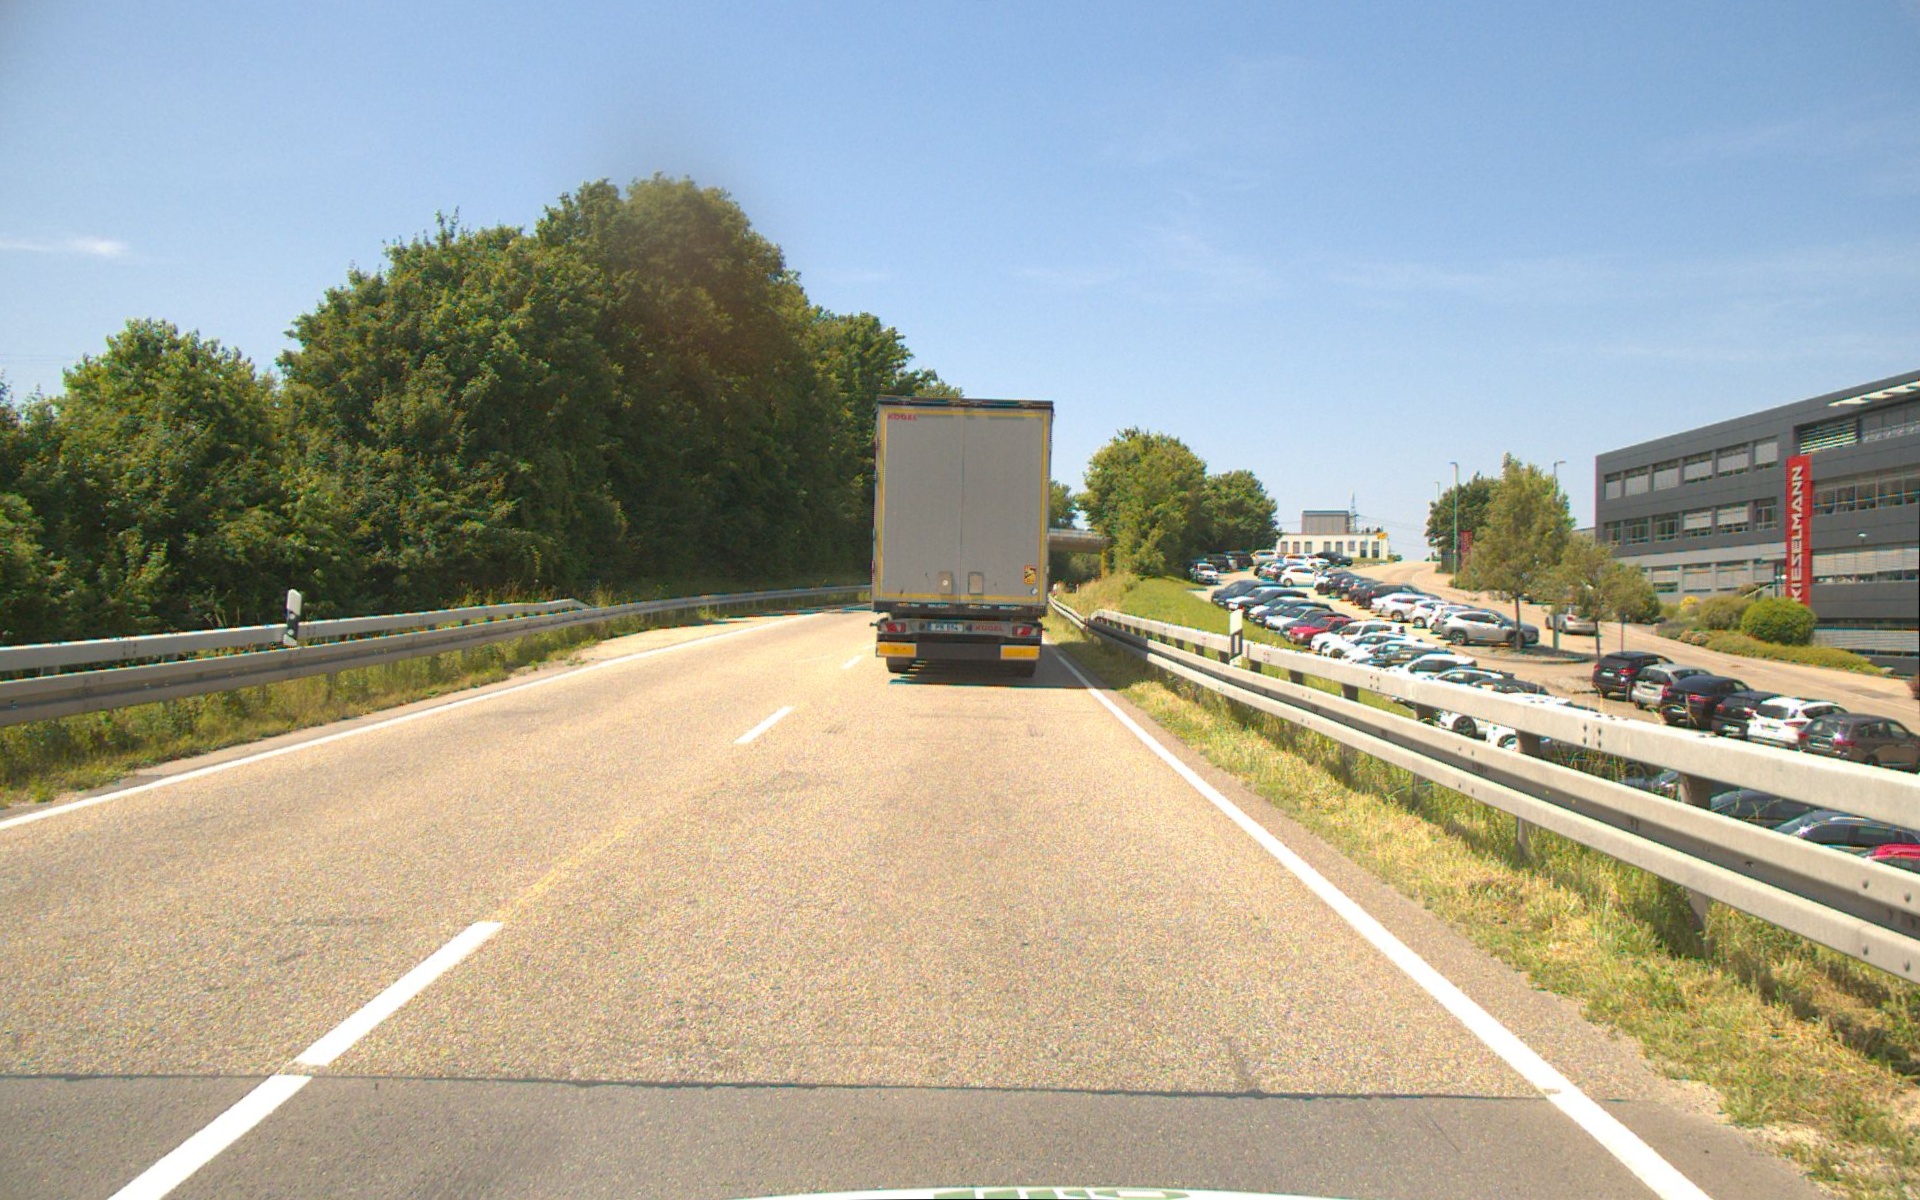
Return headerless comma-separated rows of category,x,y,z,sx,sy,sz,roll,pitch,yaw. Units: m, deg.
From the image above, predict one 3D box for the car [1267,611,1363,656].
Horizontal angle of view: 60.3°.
car,16.724,1.594,77.926,4.327,1.713,1.866,4,4,-36

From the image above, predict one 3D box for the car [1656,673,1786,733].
car,25.419,3.391,55.217,4.532,1.538,1.800,-1,6,-35

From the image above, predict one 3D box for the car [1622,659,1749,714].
car,25.936,3.052,59.088,4.526,1.565,1.803,0,6,-32

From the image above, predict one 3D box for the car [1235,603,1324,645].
car,16.267,1.230,84.049,4.327,1.713,1.866,4,4,-36

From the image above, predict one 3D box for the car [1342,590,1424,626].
car,25.971,0.480,101.544,4.489,1.655,1.818,8,4,28

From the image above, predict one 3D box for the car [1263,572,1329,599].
car,25.086,-1.097,123.562,4.481,1.656,1.820,5,3,23

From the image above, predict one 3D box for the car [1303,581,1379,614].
car,25.533,-0.184,110.803,4.489,1.655,1.818,8,4,28

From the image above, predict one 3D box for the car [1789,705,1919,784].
car,25.527,4.010,46.497,4.526,1.688,1.773,0,6,-32

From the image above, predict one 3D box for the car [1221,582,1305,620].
car,17.184,0.052,93.762,4.311,1.713,1.873,4,4,-27

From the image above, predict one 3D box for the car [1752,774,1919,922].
car,17.719,4.811,31.397,4.624,2.047,2.077,8,4,27

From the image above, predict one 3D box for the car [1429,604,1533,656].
car,25.418,1.430,80.691,4.487,1.654,1.820,8,12,27

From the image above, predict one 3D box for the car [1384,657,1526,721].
car,16.786,2.987,56.102,4.281,1.480,1.817,8,4,26

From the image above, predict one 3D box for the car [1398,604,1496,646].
car,24.852,1.258,84.409,4.484,1.655,1.820,4,8,27

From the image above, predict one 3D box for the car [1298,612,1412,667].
car,17.018,1.669,71.290,4.360,1.713,1.887,8,4,23

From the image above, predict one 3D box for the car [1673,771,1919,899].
car,17.549,4.848,34.579,4.624,1.590,1.958,8,4,27

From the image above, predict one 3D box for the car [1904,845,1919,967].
car,17.487,5.211,25.906,4.311,1.690,1.899,8,4,22

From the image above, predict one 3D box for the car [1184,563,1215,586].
car,18.181,-1.958,125.479,1.592,1.376,3.711,6,3,-2

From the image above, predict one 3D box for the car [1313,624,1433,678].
car,16.980,2.080,68.031,4.287,1.585,1.884,8,4,31

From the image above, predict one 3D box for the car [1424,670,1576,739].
car,17.366,3.324,53.193,4.284,1.480,1.816,8,4,29

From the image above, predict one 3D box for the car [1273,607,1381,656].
car,16.562,1.430,74.663,4.300,1.713,1.878,5,3,-21

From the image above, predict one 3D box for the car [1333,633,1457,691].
car,16.931,2.382,64.390,4.281,1.585,1.886,8,4,26

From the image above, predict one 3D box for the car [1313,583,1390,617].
car,25.544,-0.043,107.944,4.489,1.655,1.818,8,4,28

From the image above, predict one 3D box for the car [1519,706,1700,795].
car,17.259,3.961,43.962,4.280,1.515,1.710,8,4,24

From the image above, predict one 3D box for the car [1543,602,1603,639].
car,32.138,1.058,86.822,1.769,1.690,4.002,3,1,3

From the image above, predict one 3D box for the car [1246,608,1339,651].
car,16.237,1.460,80.698,4.327,1.713,1.866,4,4,-36

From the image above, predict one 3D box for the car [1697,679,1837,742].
car,25.848,3.498,52.936,4.526,1.538,1.803,0,6,-32

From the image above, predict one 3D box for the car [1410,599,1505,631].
car,26.139,0.745,86.915,4.483,1.503,1.819,0,4,27

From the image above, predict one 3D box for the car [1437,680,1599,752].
car,16.786,3.453,49.796,4.284,1.417,1.816,8,4,29

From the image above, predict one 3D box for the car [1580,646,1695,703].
car,25.366,2.744,61.894,4.186,1.656,1.803,-2,7,-31

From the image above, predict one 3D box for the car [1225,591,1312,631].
car,16.859,0.625,90.417,4.311,1.713,1.873,4,4,-27

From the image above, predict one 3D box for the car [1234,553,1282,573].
car,29.389,-3.667,162.952,4.310,1.714,1.873,0,5,-27

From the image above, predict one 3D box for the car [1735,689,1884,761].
car,25.610,3.718,49.836,4.526,1.688,1.803,0,6,-32

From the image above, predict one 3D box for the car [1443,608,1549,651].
car,25.323,1.372,78.140,4.484,1.656,1.819,3,5,27

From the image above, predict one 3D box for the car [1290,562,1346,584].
car,32.130,-2.431,148.393,4.497,1.657,1.813,4,1,36

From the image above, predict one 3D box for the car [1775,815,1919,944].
car,17.013,5.103,29.182,4.327,1.584,1.978,9,4,36

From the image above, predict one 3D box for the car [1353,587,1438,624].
car,25.861,0.316,98.278,4.489,1.655,1.818,8,4,28

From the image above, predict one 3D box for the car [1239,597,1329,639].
car,17.120,0.953,87.294,4.311,1.713,1.873,4,4,-27

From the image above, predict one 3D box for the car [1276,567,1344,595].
car,25.508,-1.405,120.586,4.480,1.656,1.820,5,3,23

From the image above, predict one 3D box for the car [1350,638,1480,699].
car,17.019,2.524,61.868,4.281,1.585,1.886,8,4,26

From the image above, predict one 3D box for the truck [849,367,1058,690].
truck,-0.131,-1.097,28.003,2.808,4.435,9.788,2,1,-1

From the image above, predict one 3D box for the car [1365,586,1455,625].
car,25.429,0.296,93.510,4.489,1.655,1.818,8,4,28

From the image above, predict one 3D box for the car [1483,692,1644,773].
car,17.109,3.726,46.938,4.035,1.543,1.678,8,4,25

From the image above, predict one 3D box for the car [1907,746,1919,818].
car,25.414,4.474,40.550,4.526,1.688,1.773,0,6,-32

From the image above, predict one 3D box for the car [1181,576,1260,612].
car,15.690,-0.354,99.477,4.311,1.713,1.873,4,4,-27

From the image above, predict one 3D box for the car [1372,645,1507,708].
car,17.141,2.702,59.116,4.281,1.585,1.860,8,4,26

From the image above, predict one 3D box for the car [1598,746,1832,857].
car,17.222,4.537,37.794,4.624,1.512,1.912,8,4,27

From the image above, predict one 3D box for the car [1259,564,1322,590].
car,25.964,-1.829,129.770,4.481,1.656,1.820,5,3,22

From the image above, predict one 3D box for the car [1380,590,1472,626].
car,25.450,0.408,90.312,4.491,1.545,1.817,4,6,32

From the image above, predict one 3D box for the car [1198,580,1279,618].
car,16.267,-0.056,96.676,4.311,1.713,1.873,4,4,-27
